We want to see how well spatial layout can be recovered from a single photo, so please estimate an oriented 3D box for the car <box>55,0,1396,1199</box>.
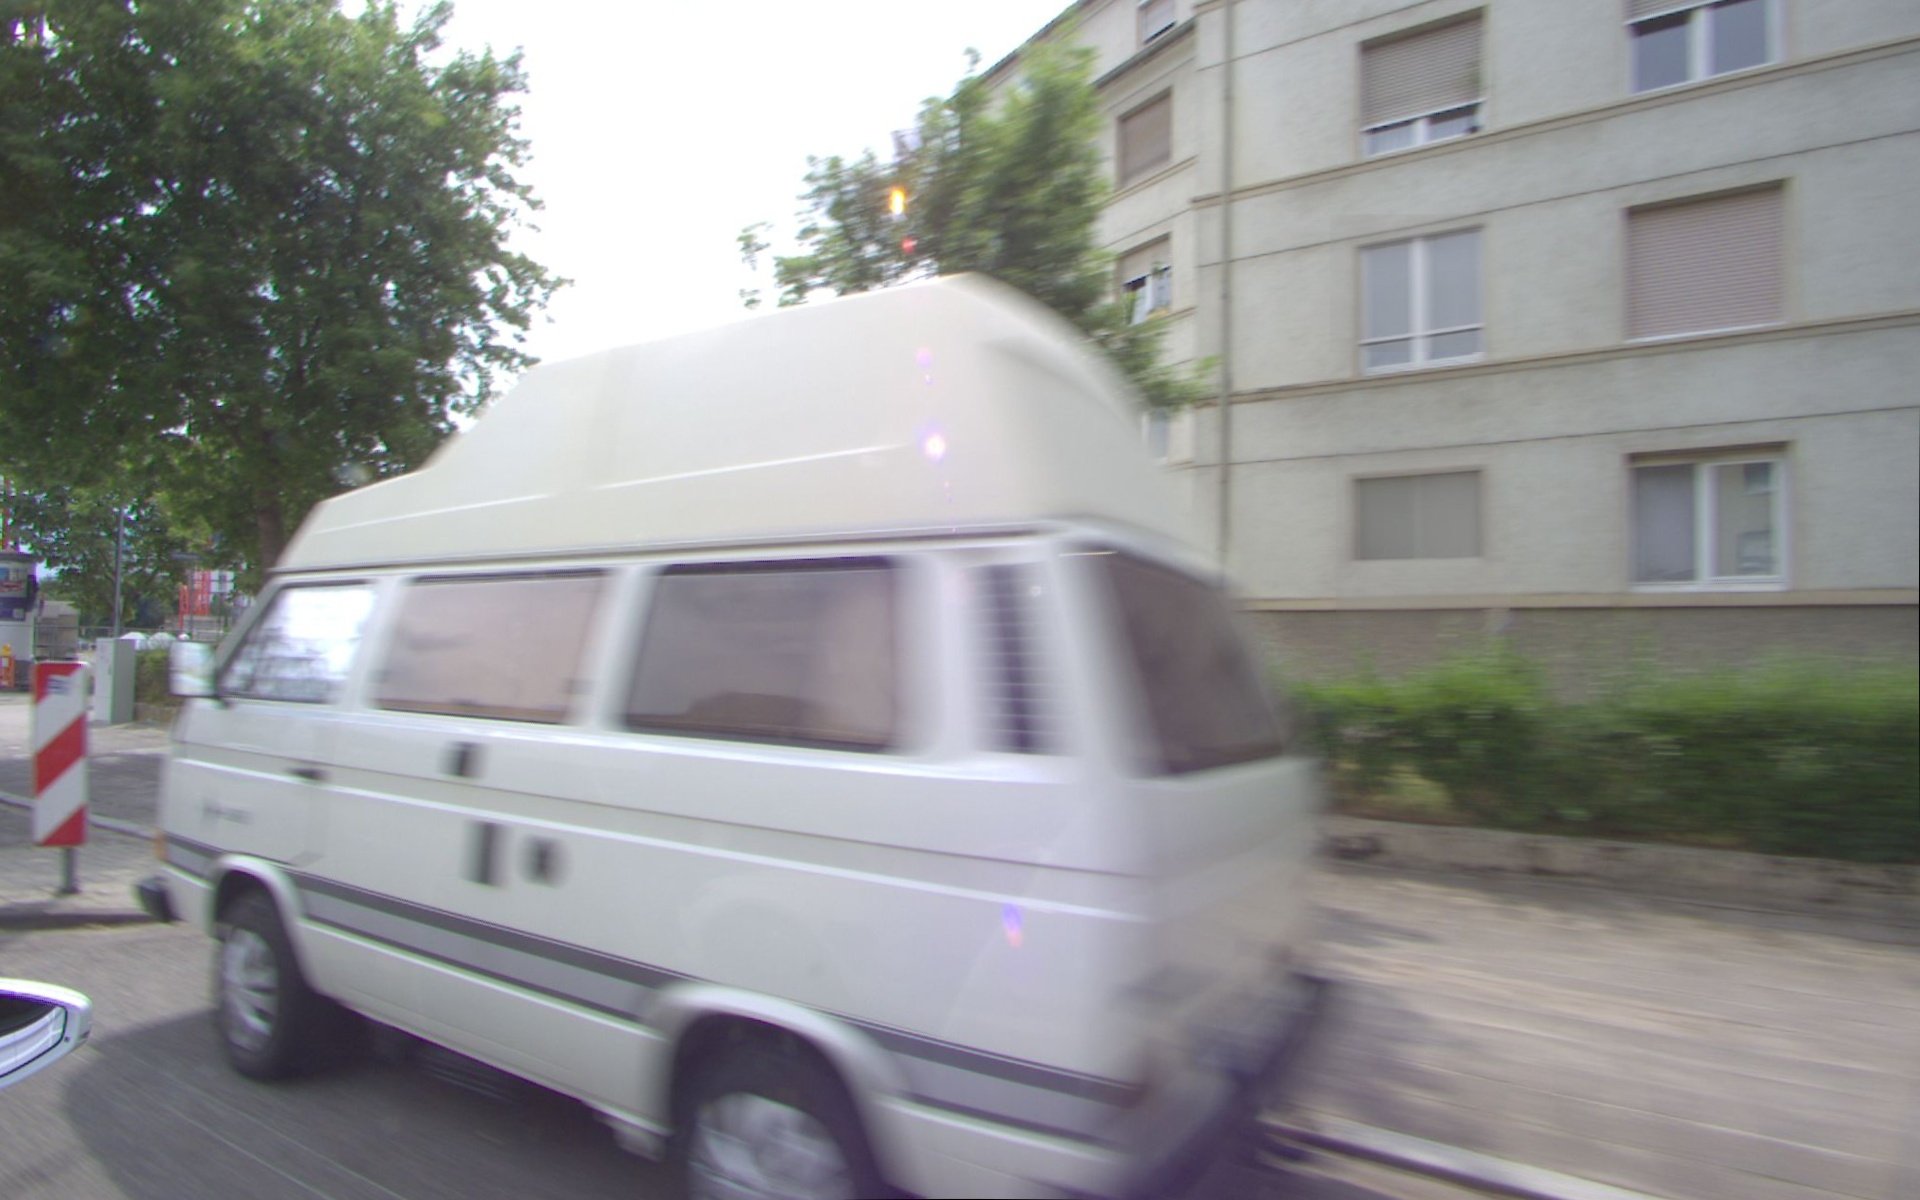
[{"bbox_3d":[-1.125,0.361,3.727,4.835,2.632,1.895,-1,-6,32],"label":"car"}]
